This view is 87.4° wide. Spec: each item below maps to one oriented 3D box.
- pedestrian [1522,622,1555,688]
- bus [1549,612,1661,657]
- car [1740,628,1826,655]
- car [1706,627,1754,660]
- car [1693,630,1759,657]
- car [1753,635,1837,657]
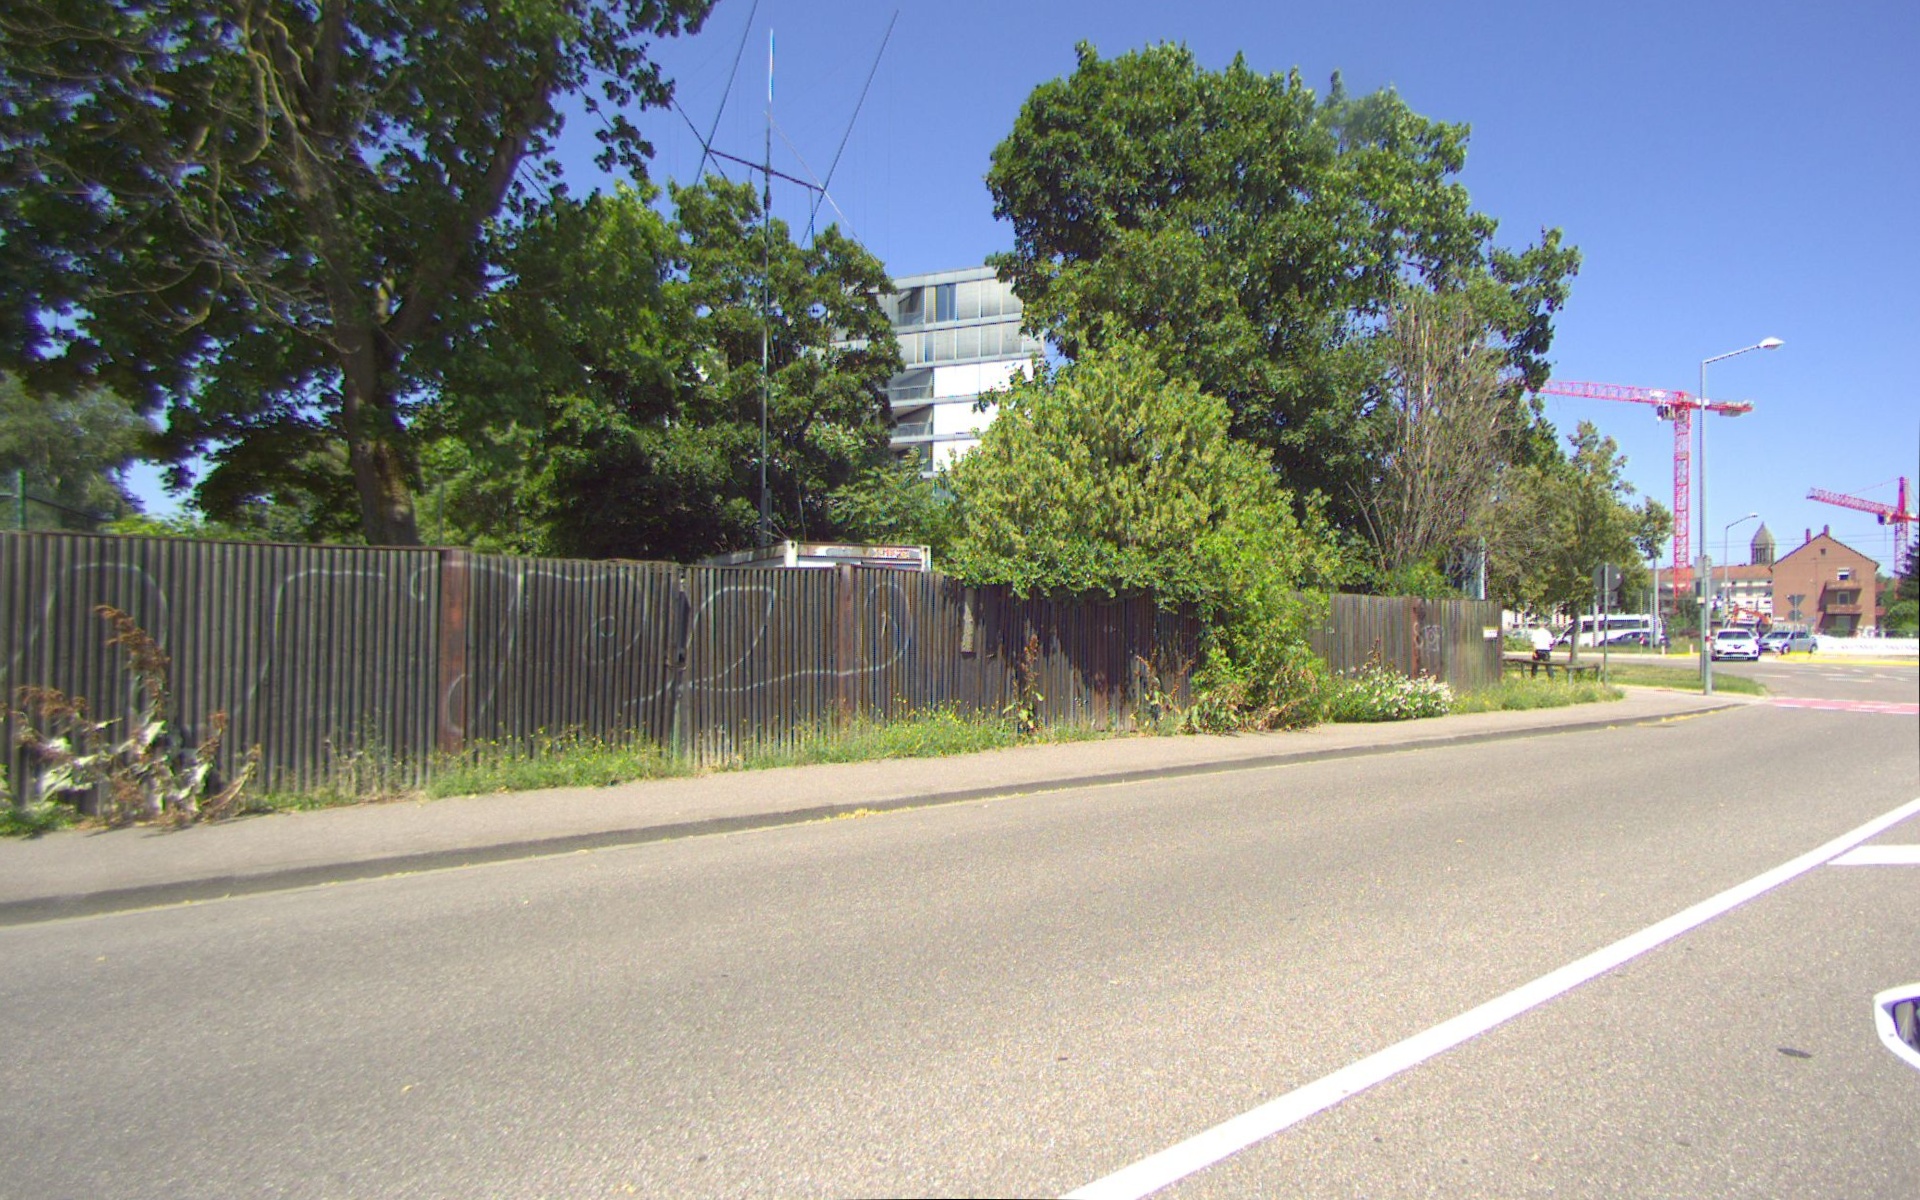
[{"bbox_3d":[16.612,1.564,28.870,0.625,1.810,0.969,2,0,20],"label":"pedestrian"},{"bbox_3d":[51.710,2.716,80.707,2.246,3.215,7.181,2,0,-44],"label":"bus"},{"bbox_3d":[49.777,2.509,60.744,4.195,1.421,1.729,2,0,-11],"label":"car"},{"bbox_3d":[37.949,2.106,49.578,1.752,1.547,3.859,-1,-2,36],"label":"car"},{"bbox_3d":[42.449,2.399,55.648,4.288,1.390,1.735,2,0,-35],"label":"car"},{"bbox_3d":[59.979,3.300,72.226,4.244,1.390,1.753,2,0,16],"label":"car"}]
